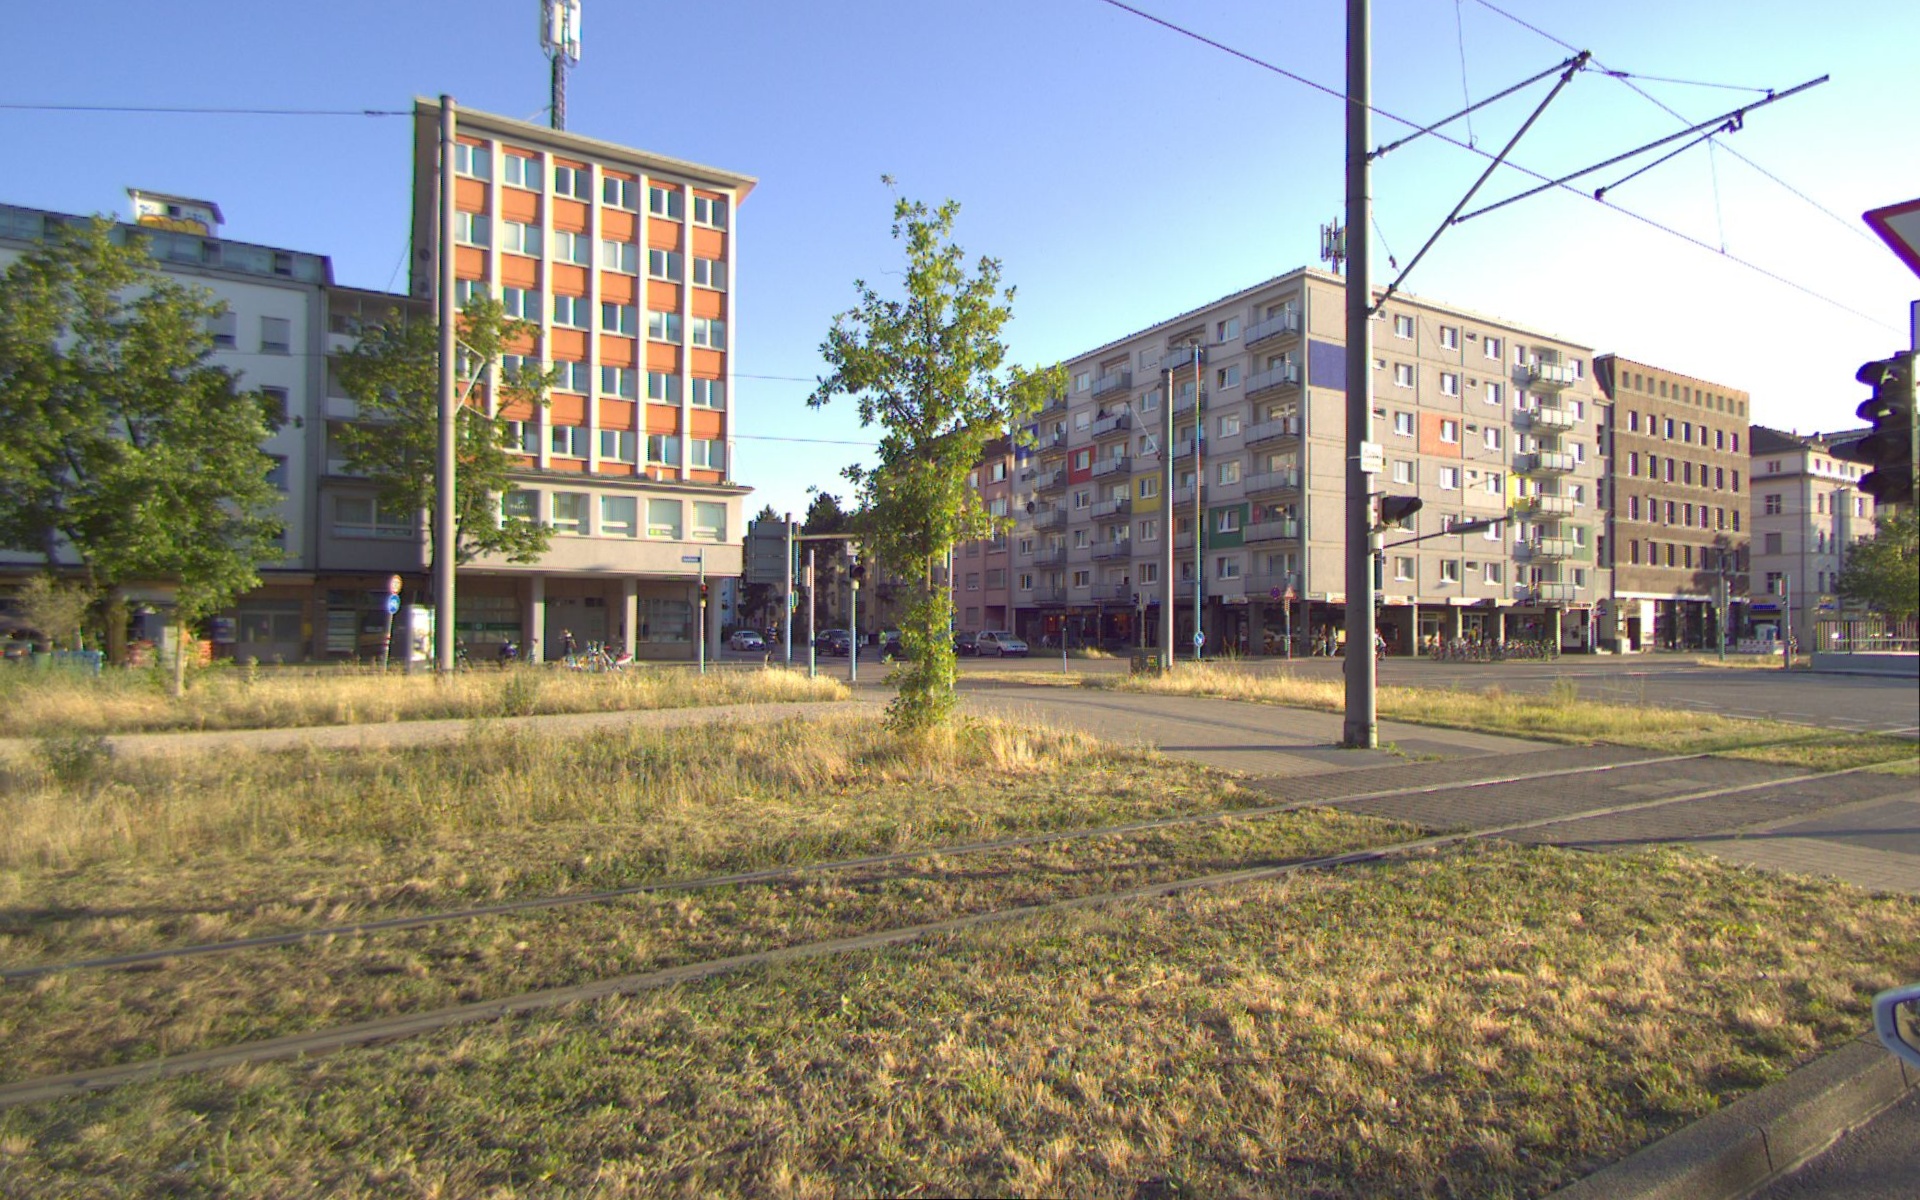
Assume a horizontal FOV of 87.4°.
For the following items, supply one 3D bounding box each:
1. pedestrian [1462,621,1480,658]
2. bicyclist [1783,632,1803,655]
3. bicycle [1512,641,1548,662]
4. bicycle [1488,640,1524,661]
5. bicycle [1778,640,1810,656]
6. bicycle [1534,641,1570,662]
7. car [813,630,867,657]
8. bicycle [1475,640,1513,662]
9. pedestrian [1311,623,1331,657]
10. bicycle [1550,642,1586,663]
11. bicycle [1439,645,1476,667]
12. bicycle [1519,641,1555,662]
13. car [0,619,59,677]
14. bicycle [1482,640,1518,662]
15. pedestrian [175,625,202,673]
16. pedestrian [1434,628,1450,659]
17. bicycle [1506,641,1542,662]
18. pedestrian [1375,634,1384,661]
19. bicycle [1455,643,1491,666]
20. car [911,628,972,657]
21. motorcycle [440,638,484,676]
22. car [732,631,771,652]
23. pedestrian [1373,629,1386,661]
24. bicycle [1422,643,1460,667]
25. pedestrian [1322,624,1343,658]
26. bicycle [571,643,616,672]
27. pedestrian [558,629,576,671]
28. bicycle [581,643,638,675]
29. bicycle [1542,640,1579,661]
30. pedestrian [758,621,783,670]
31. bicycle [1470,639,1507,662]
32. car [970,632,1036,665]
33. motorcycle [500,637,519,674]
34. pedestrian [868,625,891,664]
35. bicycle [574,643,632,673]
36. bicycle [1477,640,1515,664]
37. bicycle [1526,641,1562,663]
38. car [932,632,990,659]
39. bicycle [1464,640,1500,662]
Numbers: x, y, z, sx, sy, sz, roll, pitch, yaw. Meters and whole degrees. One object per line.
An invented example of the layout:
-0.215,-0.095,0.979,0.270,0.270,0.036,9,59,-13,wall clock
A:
30.149,2.330,59.227,0.783,2.207,0.599,1,-1,-30,pedestrian
53.128,2.790,64.086,0.841,1.445,0.500,0,-1,-5,bicyclist
32.049,2.871,56.515,0.561,1.134,1.753,1,-1,-29,bicycle
30.742,2.850,56.542,0.598,1.151,1.763,1,-2,-29,bicycle
53.218,3.056,64.098,1.636,0.957,0.509,0,-1,-5,bicycle
33.867,2.939,57.473,0.739,1.194,1.684,1,-1,-28,bicycle
-7.371,2.610,61.424,1.975,1.551,3.971,1,-1,-28,car
29.645,2.821,55.813,0.632,1.176,1.823,1,-2,-29,bicycle
20.214,2.233,56.262,0.715,1.837,0.819,2,-1,-40,pedestrian
35.188,3.011,58.160,0.688,1.159,1.684,1,-1,-28,bicycle
26.861,3.004,54.287,0.601,1.157,1.768,1,-2,-29,bicycle
32.604,2.893,56.804,0.626,1.139,1.720,2,-2,-28,bicycle
-30.089,1.415,30.234,3.927,1.706,1.997,1,-1,-9,car
30.190,2.836,56.194,0.598,1.174,1.768,1,-2,-29,bicycle
-29.075,1.836,37.876,0.690,1.774,0.646,1,-1,-30,pedestrian
26.702,2.409,55.623,0.540,1.706,0.576,1,-1,-29,pedestrian
31.542,2.861,56.235,0.545,1.132,1.747,1,-1,-29,bicycle
21.733,2.468,51.995,0.376,1.401,0.394,0,-1,32,pedestrian
27.630,2.935,54.126,0.592,1.154,1.749,1,-1,-29,bicycle
-1.093,2.399,56.985,1.974,1.505,3.974,3,-3,-26,car
-17.781,2.024,35.853,1.373,1.335,0.378,1,-1,-28,motorcycle
-16.025,3.180,77.086,1.975,1.551,3.971,1,-2,-28,car
21.472,2.307,51.433,0.563,1.641,0.602,0,-1,29,pedestrian
25.812,2.946,53.946,0.631,1.224,1.786,1,-2,-30,bicycle
20.411,2.241,55.050,0.728,1.866,0.780,1,-2,-38,pedestrian
-14.061,2.206,38.543,1.543,1.089,0.392,1,-1,-31,bicycle
-16.987,2.143,43.371,0.623,1.792,0.593,1,-1,-30,pedestrian
-12.591,2.108,36.091,1.885,1.089,0.465,1,-1,-31,bicycle
34.553,2.910,57.816,0.739,1.185,1.684,1,-1,-28,bicycle
-7.705,1.848,40.932,0.708,1.972,0.720,-1,-2,43,pedestrian
28.717,2.726,54.563,0.561,1.197,1.761,1,-1,-29,bicycle
2.314,2.653,55.529,1.974,1.506,3.973,2,1,-26,car
-17.018,2.063,37.916,0.538,1.335,1.823,1,-1,-27,motorcycle
-3.818,2.110,47.824,0.879,1.855,0.885,1,-1,-20,pedestrian
-13.306,2.141,37.487,1.972,1.089,0.465,1,-1,-31,bicycle
29.263,2.832,54.897,0.644,1.206,1.780,1,-2,-30,bicycle
33.213,2.950,57.117,0.696,1.168,1.684,1,-1,-28,bicycle
0.026,2.676,59.883,1.974,1.505,3.974,1,-2,-26,car
28.194,2.747,54.287,0.534,1.183,1.758,1,-1,-29,bicycle
